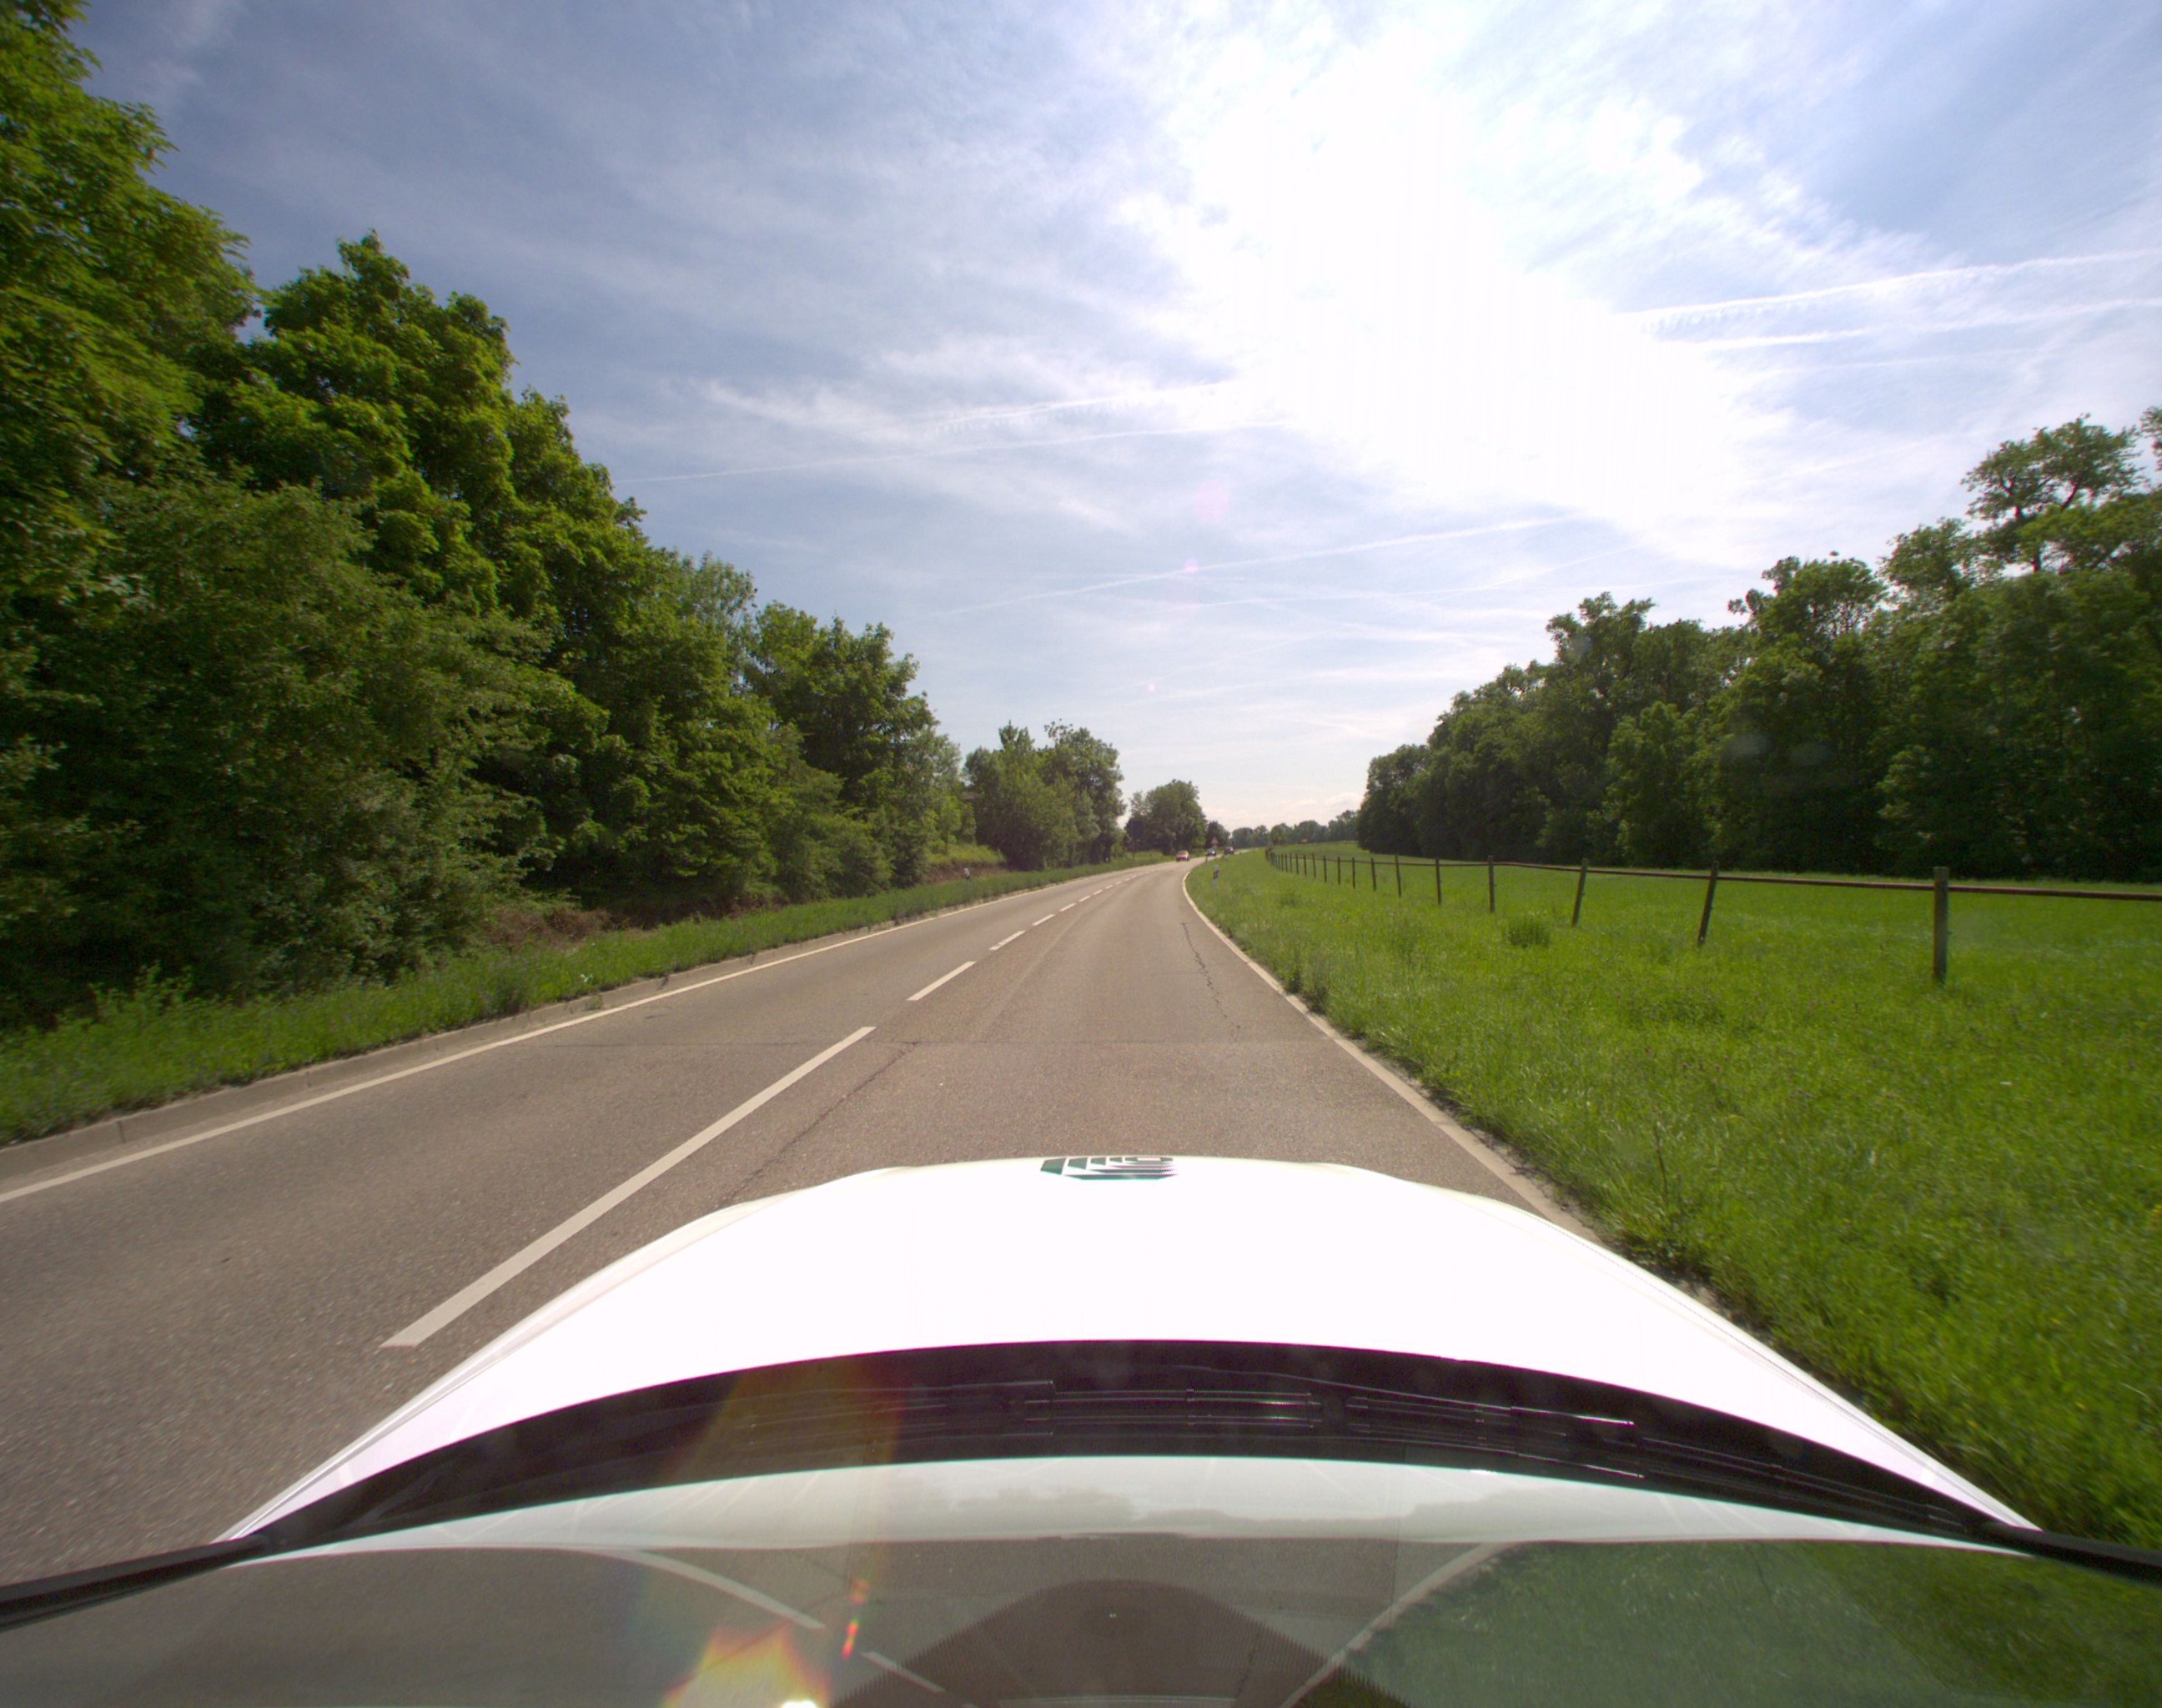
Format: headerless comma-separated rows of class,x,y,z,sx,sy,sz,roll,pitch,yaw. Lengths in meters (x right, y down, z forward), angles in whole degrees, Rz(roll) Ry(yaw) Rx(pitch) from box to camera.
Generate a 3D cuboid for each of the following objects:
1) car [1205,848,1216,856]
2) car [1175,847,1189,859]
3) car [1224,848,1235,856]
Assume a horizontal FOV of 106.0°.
car,24.825,-0.335,155.824,1.808,1.469,4.015,-1,0,14
car,13.432,-0.137,108.197,1.810,1.469,4.010,-1,0,9
car,28.902,-0.345,158.284,1.979,1.574,4.014,-1,0,13
